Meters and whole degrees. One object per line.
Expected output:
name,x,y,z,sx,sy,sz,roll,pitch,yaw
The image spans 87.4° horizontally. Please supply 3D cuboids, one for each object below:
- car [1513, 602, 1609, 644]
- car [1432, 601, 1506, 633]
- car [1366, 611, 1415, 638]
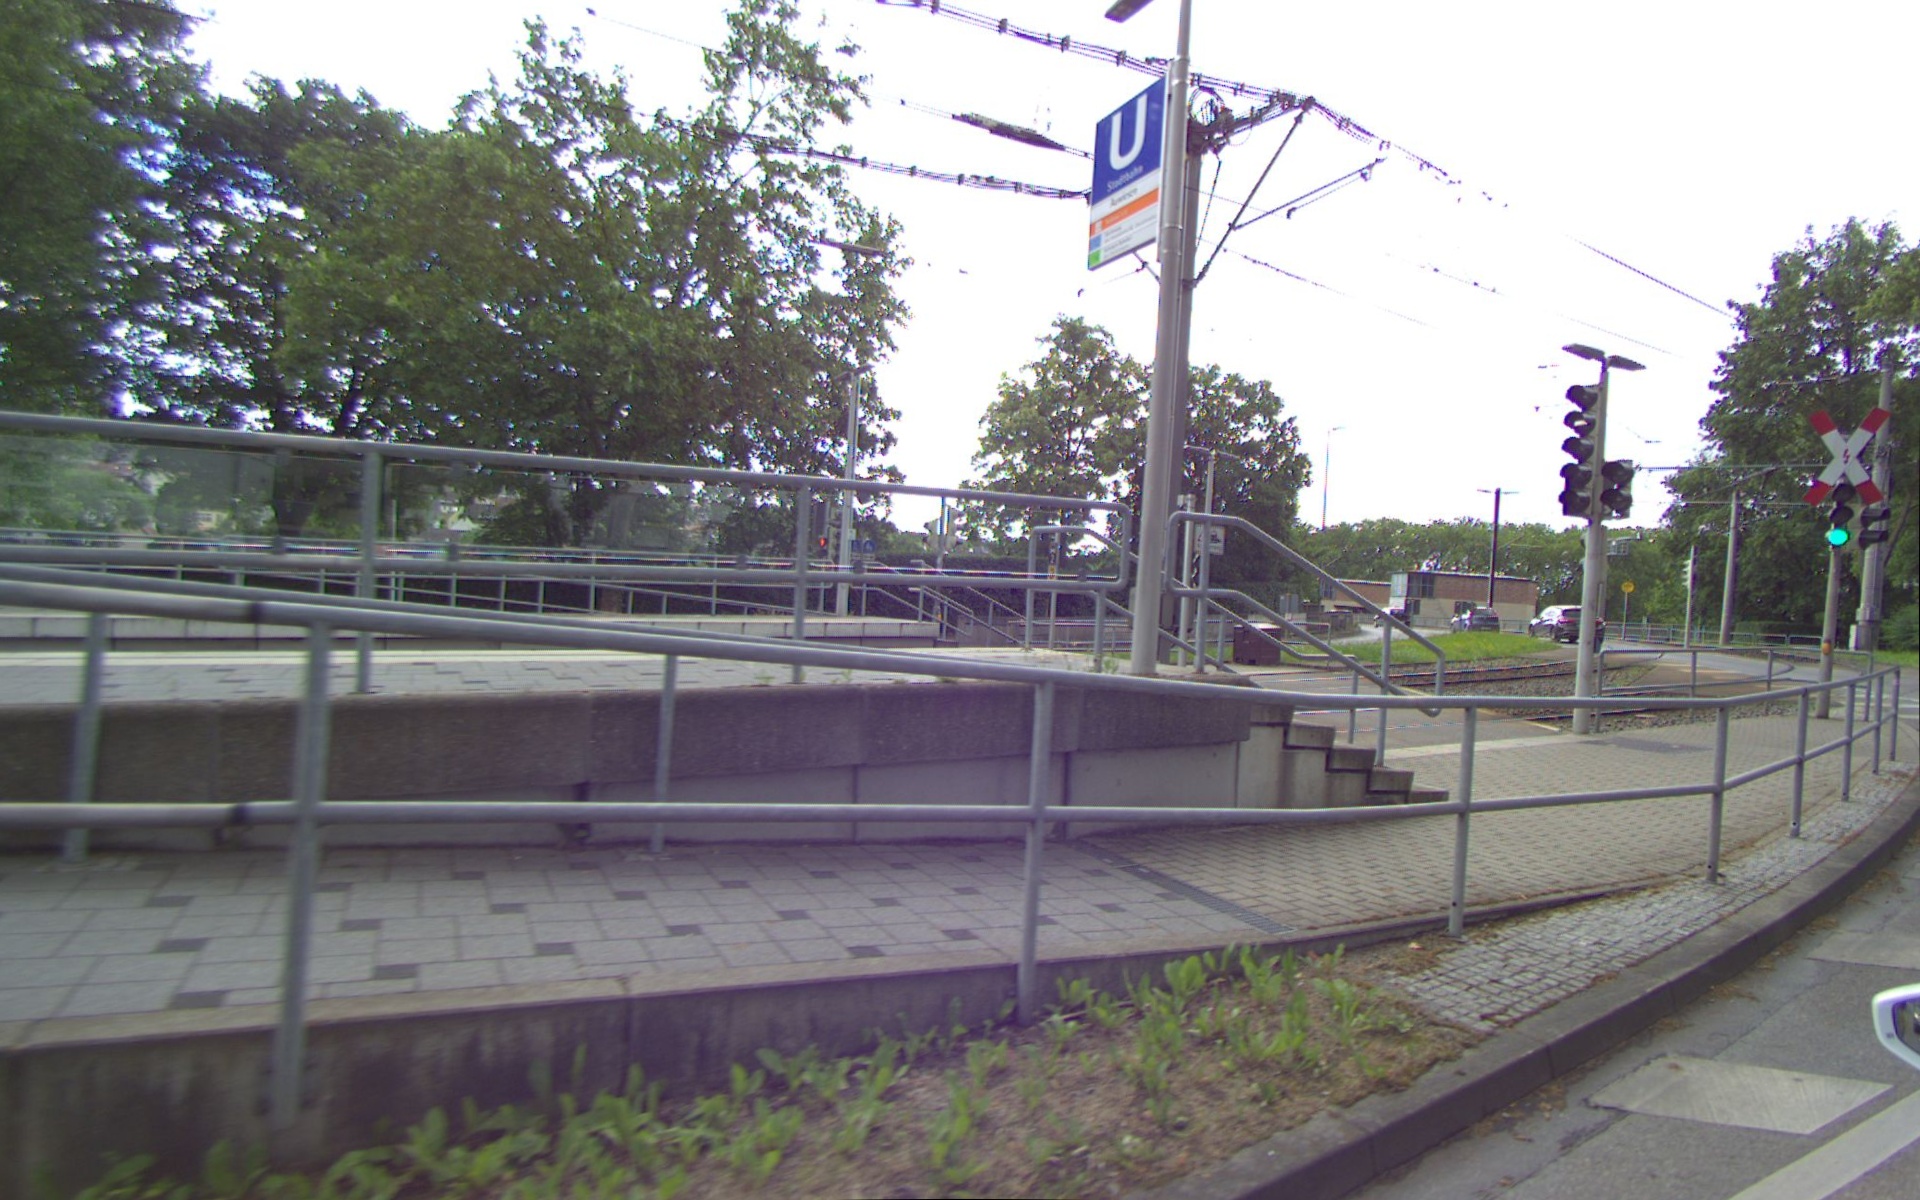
car,24.785,0.901,41.601,1.740,1.576,4.242,1,0,6
car,27.434,0.875,54.352,1.959,1.585,4.999,1,1,7
car,29.964,1.691,70.104,1.959,1.695,4.543,1,0,8
